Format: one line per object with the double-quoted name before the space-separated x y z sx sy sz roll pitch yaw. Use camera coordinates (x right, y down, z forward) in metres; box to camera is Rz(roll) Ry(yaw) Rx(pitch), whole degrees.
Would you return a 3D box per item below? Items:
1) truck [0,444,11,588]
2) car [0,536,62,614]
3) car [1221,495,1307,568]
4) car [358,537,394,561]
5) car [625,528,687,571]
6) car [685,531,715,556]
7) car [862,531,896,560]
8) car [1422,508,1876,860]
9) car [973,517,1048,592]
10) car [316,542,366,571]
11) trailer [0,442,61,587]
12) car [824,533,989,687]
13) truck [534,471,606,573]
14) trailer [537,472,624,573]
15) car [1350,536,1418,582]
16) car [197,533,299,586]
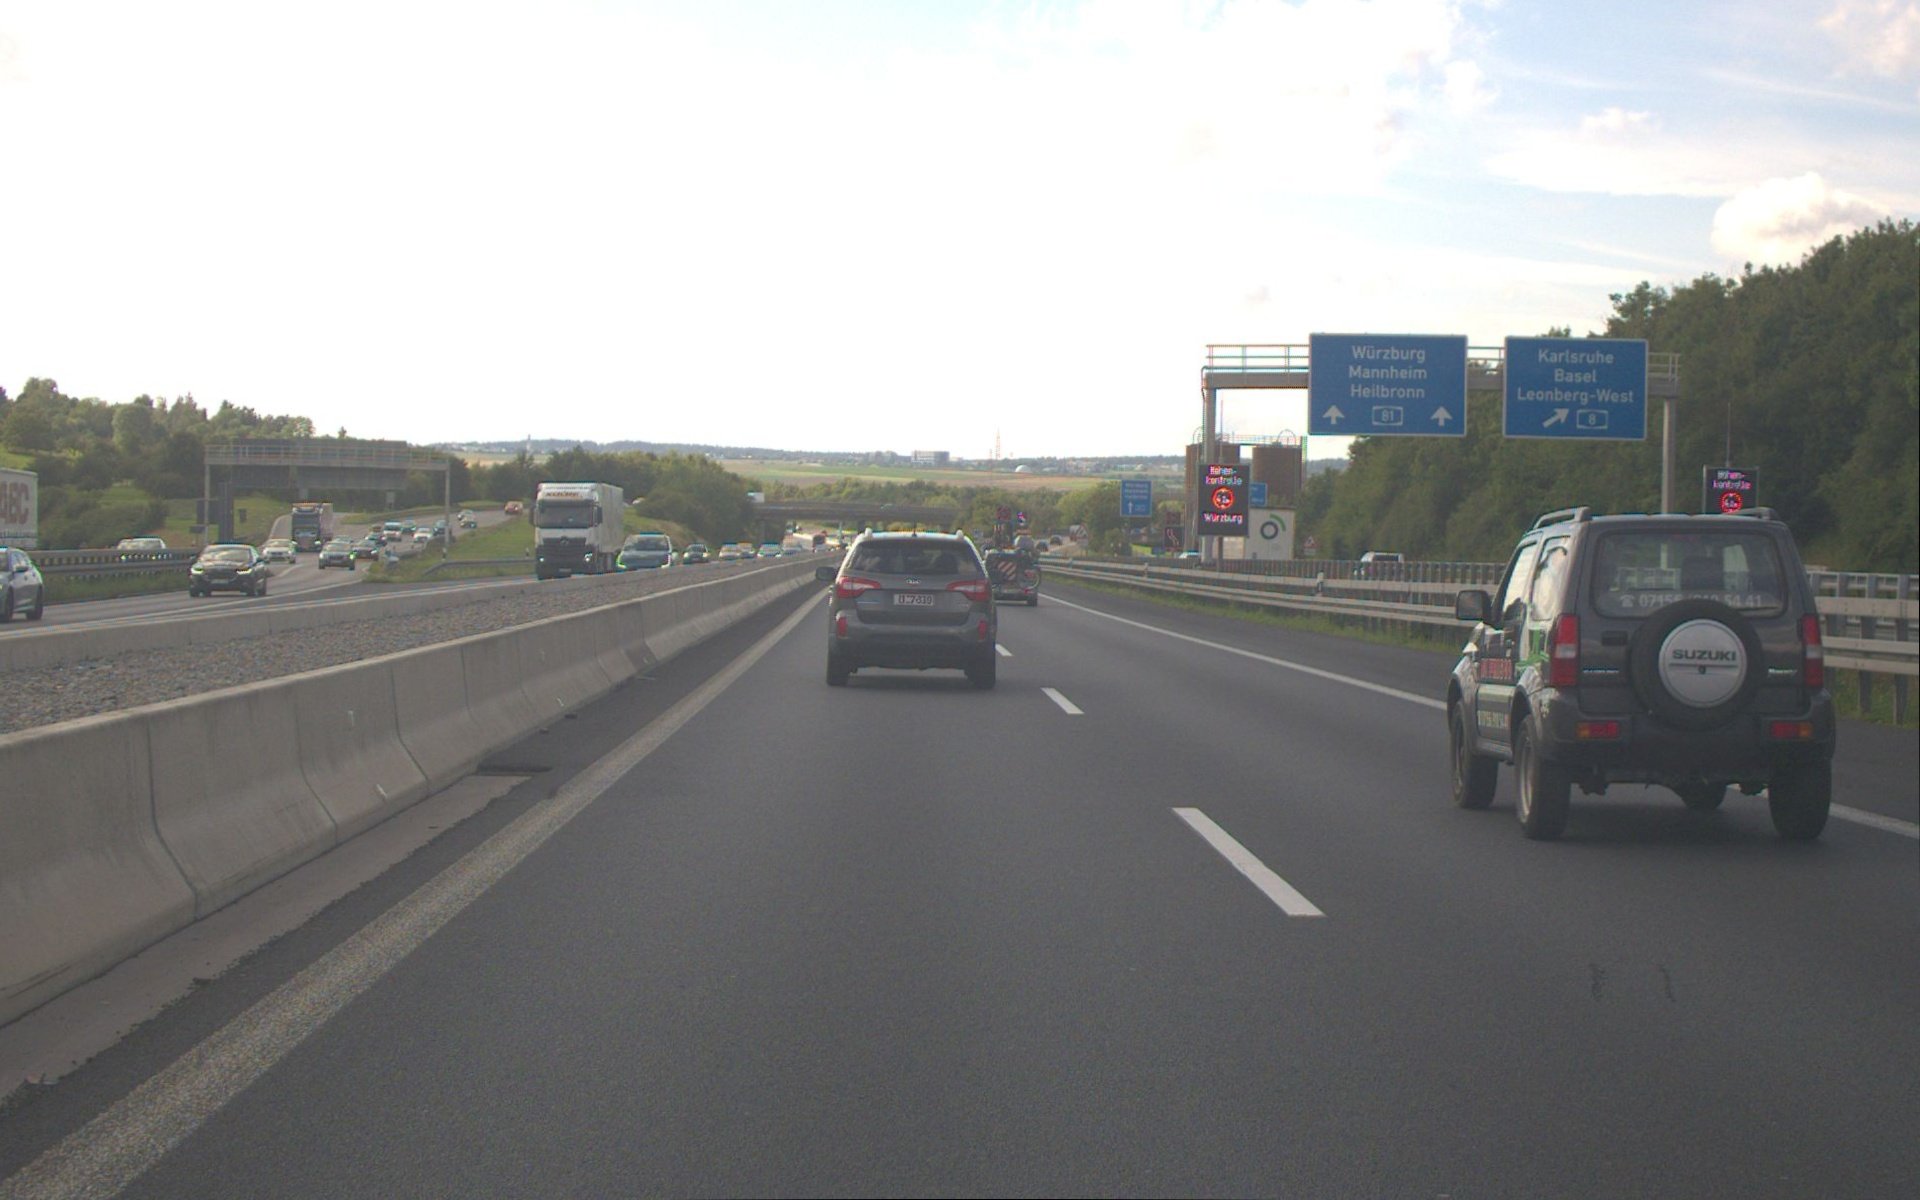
"truck" -35.452 -2.964 120.839 3.025 5.124 6.631 0 1 -6
"car" -19.162 -0.508 67.891 1.645 1.489 4.997 0 1 -1
"car" 15.644 -3.498 177.347 3.576 3.664 7.549 0 1 -1
"car" -40.136 -3.501 236.326 1.801 1.612 4.302 0 1 -1
"car" -10.764 -1.775 122.043 1.847 1.489 4.973 0 1 -1
"car" -17.534 -3.814 231.932 1.801 1.612 4.302 0 1 -1
"car" -5.293 -3.564 225.314 2.169 1.837 4.000 0 1 0
"car" 3.738 0.395 19.332 1.666 1.726 4.207 1 1 0
"car" 1.427 -1.301 98.562 1.993 2.073 4.000 0 1 -1
"car" -31.789 -2.239 176.635 1.942 1.489 4.128 0 1 -1
"trailer" -36.335 -3.110 128.475 3.108 5.143 14.722 0 1 -6
"car" -0.568 0.079 38.262 1.750 1.625 3.609 0 1 0
"truck" -16.039 -3.176 141.629 2.488 4.115 5.299 0 1 -1
"trailer" -16.157 -3.235 147.077 2.488 4.115 13.284 0 1 -1
"car" 16.105 -1.572 130.651 1.993 1.711 4.000 0 1 -1
"car" -20.553 -1.177 99.427 1.942 1.489 5.307 0 1 -1
